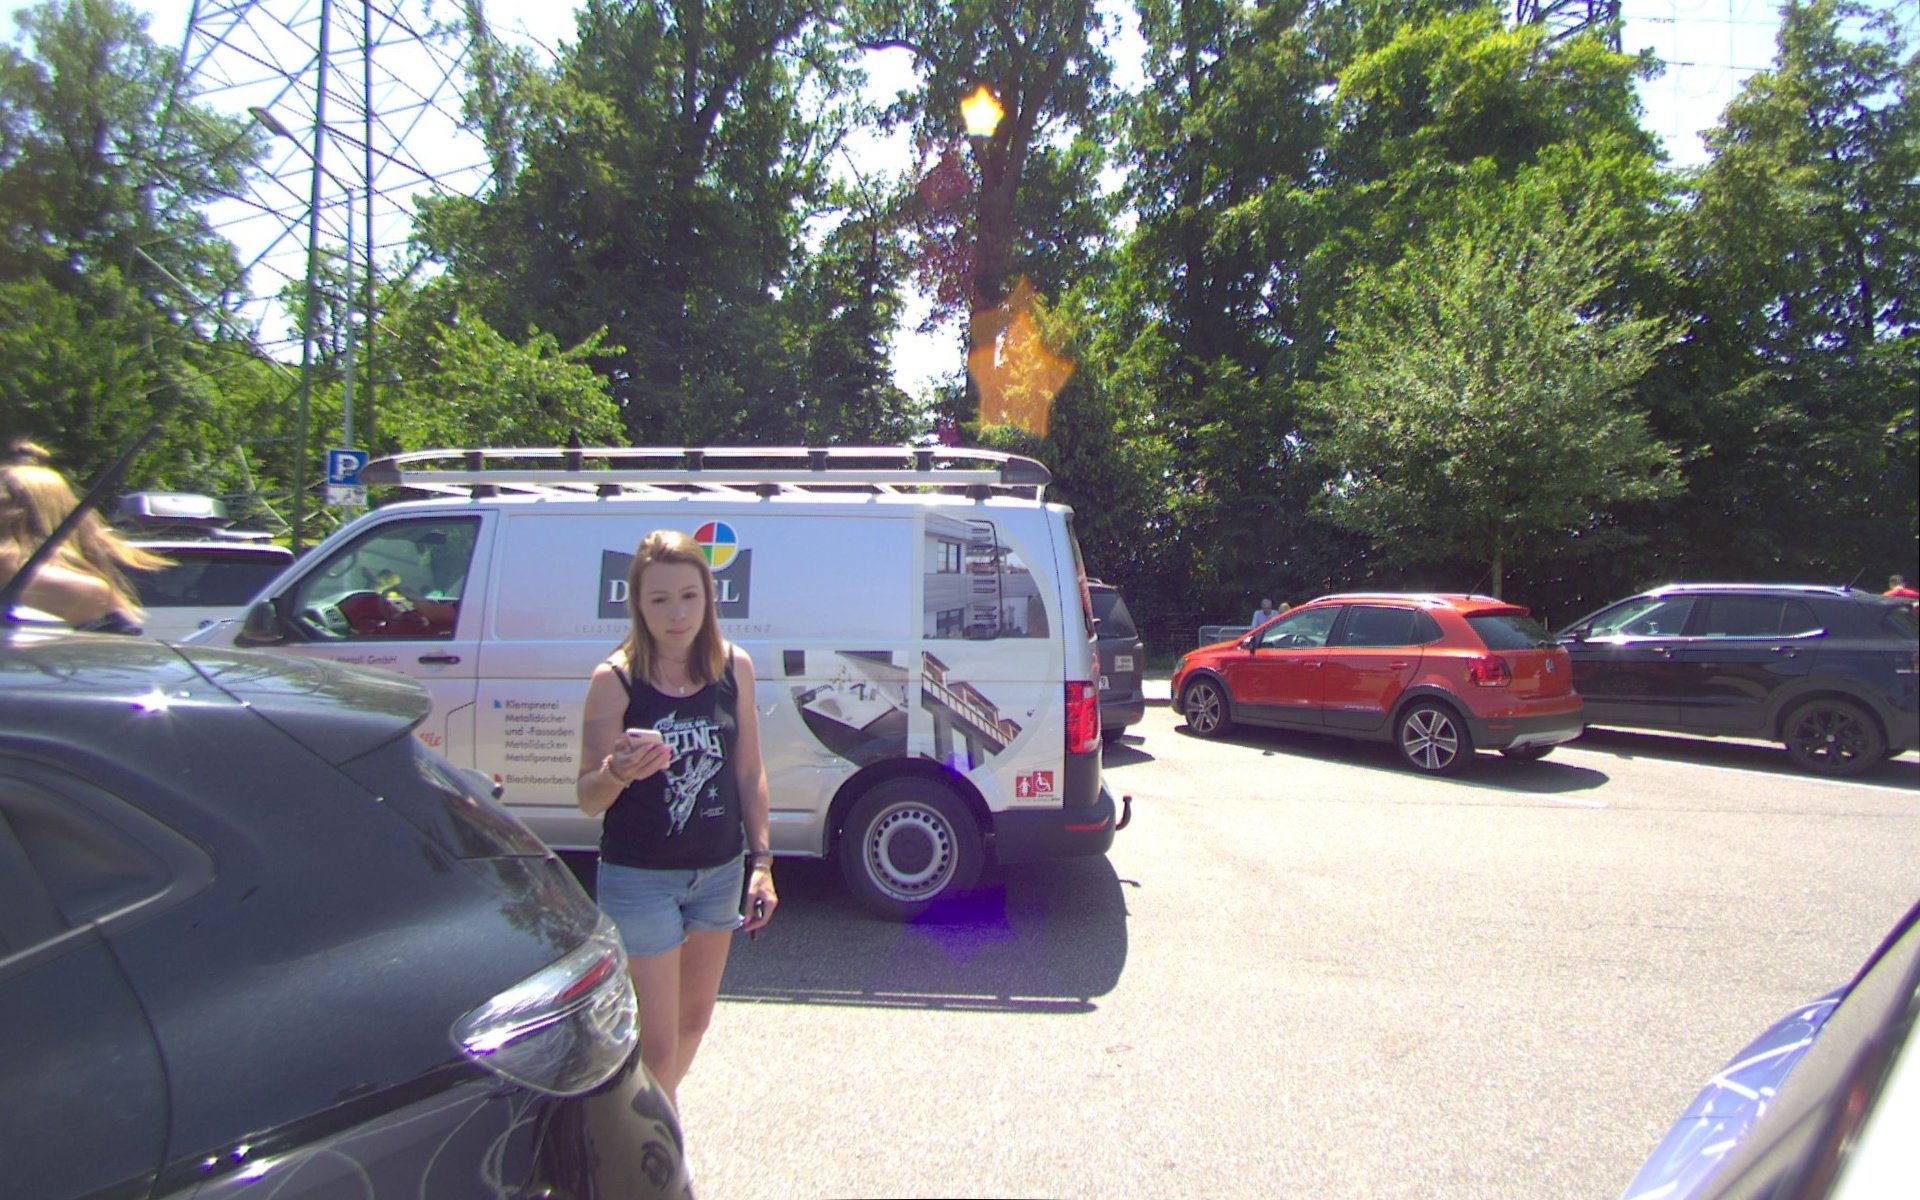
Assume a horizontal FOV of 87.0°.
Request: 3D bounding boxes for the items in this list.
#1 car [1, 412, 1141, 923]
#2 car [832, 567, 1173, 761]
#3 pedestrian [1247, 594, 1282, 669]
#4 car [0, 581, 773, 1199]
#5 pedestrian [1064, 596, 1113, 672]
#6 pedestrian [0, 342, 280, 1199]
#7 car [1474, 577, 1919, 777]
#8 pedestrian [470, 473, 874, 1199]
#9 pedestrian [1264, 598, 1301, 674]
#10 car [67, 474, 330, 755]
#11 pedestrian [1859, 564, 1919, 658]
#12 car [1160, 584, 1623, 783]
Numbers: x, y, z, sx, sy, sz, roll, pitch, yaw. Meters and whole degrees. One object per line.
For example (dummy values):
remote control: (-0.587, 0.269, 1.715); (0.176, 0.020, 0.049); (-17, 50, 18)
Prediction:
car: (-1.782, 0.246, 5.511); (5.217, 2.177, 1.998); (1, 0, 4)
car: (0.228, 0.496, 10.559); (1.717, 1.611, 3.961); (0, 1, -30)
pedestrian: (5.725, 0.582, 19.059); (0.495, 1.393, 0.491); (1, -1, 0)
car: (-2.117, 0.716, 0.596); (1.615, 1.503, 3.706); (0, -1, 44)
pedestrian: (2.136, 0.570, 16.843); (0.660, 1.235, 0.682); (1, -2, -5)
pedestrian: (-2.221, 0.416, 2.381); (0.898, 1.896, 0.775); (1, -1, -26)
car: (7.249, 0.574, 9.683); (1.727, 1.566, 3.806); (0, 1, -39)
pedestrian: (-0.650, 0.577, 2.265); (0.643, 1.606, 0.648); (1, -1, -40)
pedestrian: (5.699, 0.634, 17.904); (0.495, 1.316, 0.491); (1, -1, 0)
car: (-8.055, 0.083, 10.635); (1.885, 2.353, 4.089); (0, 1, -40)
pedestrian: (13.811, 0.158, 14.649); (0.846, 1.316, 0.894); (1, -1, -18)
car: (3.858, 0.602, 9.651); (1.604, 1.476, 3.810); (0, 1, -34)
